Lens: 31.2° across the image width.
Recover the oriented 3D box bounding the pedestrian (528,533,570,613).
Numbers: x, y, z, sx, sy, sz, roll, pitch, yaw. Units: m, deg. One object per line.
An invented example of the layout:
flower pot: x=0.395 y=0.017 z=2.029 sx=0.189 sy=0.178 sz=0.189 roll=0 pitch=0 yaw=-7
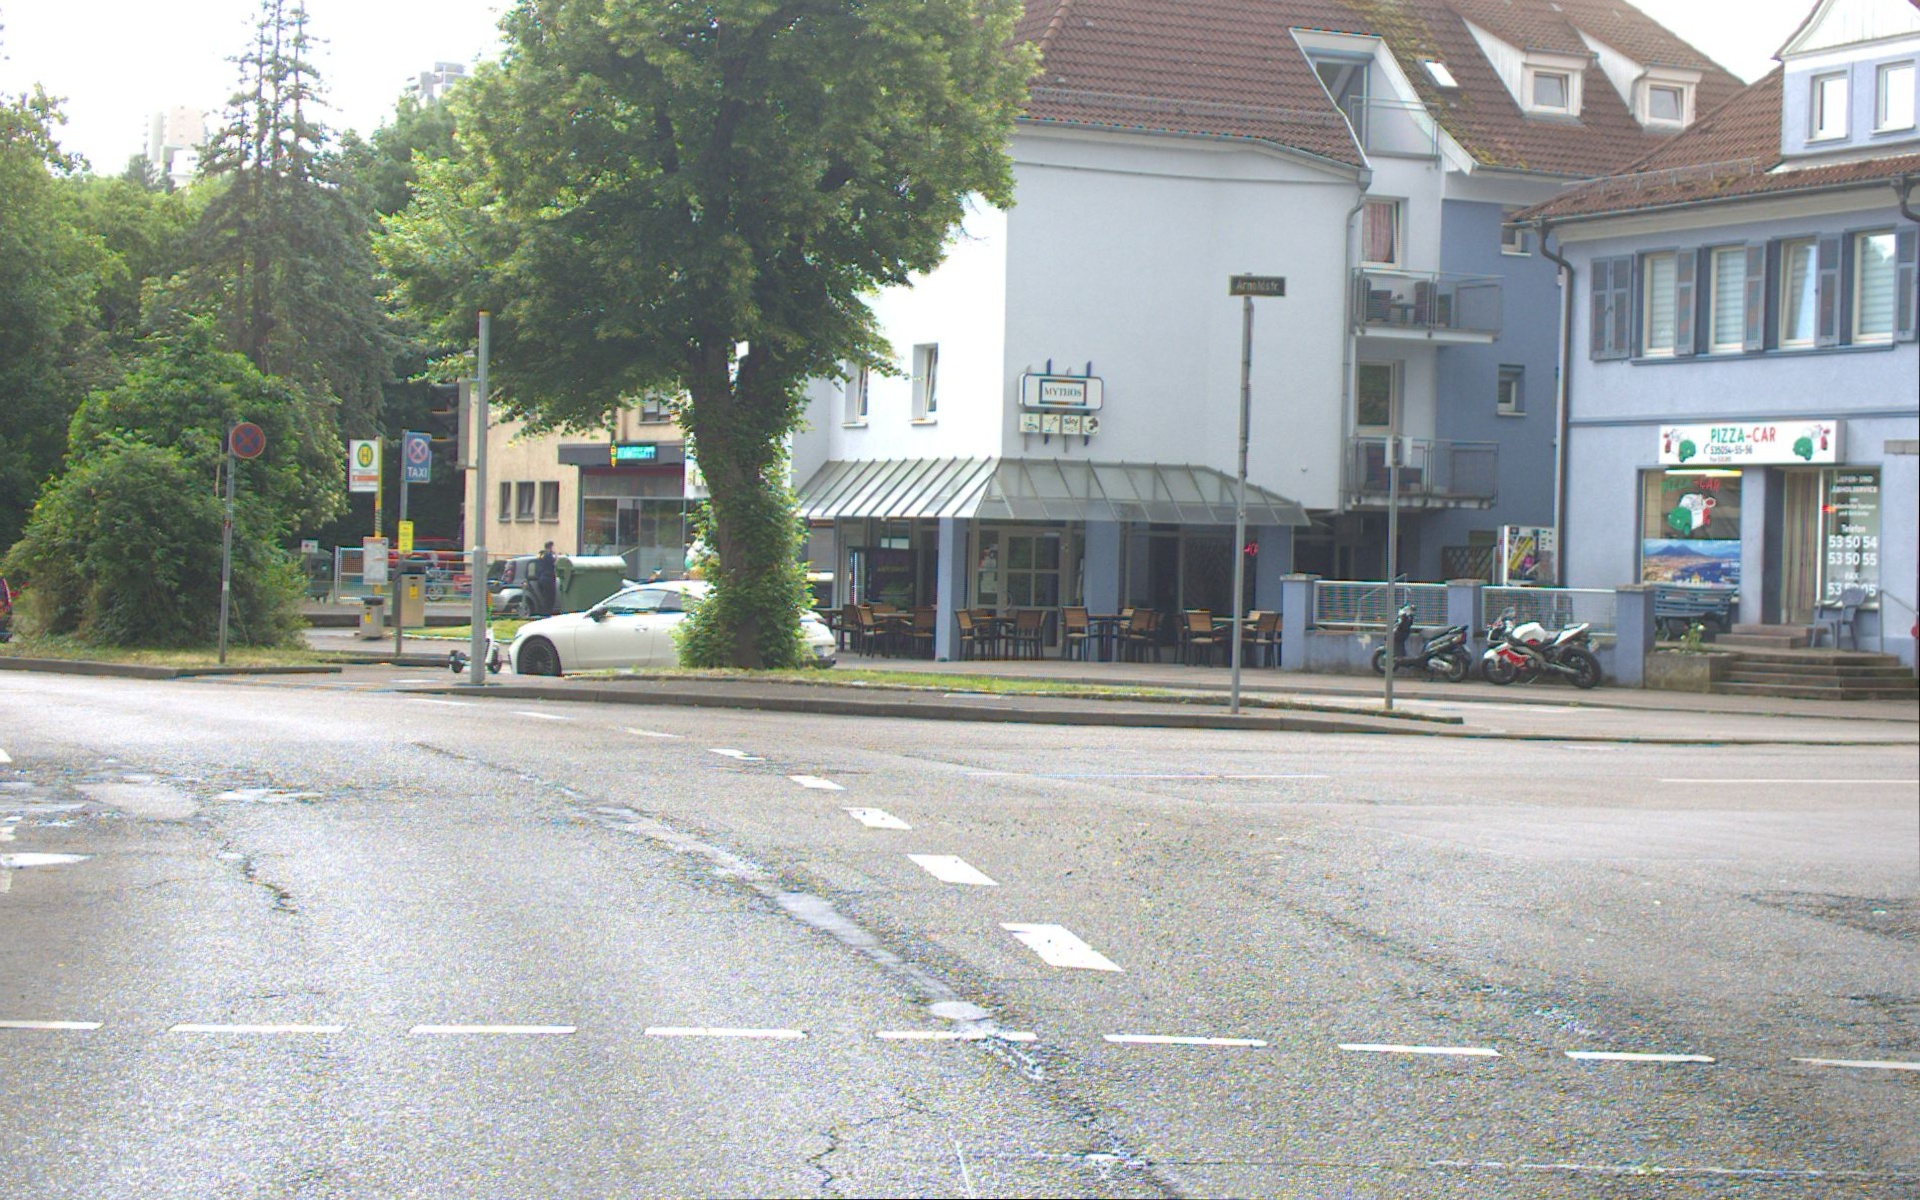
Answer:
pedestrian: x=-8.913 y=-0.591 z=74.504 sx=0.687 sy=1.723 sz=0.611 roll=1 pitch=0 yaw=-32

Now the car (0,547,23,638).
car: x=-16.515 y=-0.176 z=53.640 sx=3.489 sy=1.399 sz=1.571 roll=3 pitch=1 yaw=28

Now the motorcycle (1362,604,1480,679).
motorcycle: x=6.709 y=0.594 z=50.078 sx=1.724 sy=1.028 sz=0.488 roll=2 pitch=1 yaw=43

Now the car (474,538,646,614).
car: x=-8.818 y=-0.524 z=75.760 sx=3.413 sy=1.625 sz=1.625 roll=1 pitch=1 yaw=-25

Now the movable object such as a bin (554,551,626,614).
movable object such as a bin: x=-7.962 y=-0.378 z=73.902 sx=1.216 sy=1.340 sz=0.995 roll=1 pitch=1 yaw=-31

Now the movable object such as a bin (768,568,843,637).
movable object such as a bin: x=-3.173 y=0.055 z=70.503 sx=1.214 sy=1.390 sz=1.161 roll=1 pitch=0 yaw=-22

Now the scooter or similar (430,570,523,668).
scooter or similar: x=-6.001 y=0.242 z=42.719 sx=0.412 sy=1.163 sz=1.360 roll=2 pitch=-2 yaw=26

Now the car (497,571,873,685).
car: x=-3.688 y=0.347 z=45.773 sx=4.782 sy=1.382 sz=1.996 roll=1 pitch=1 yaw=34

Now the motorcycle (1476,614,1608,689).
motorcycle: x=8.178 y=0.715 z=48.338 sx=1.822 sy=0.982 sz=0.520 roll=2 pitch=1 yaw=43
